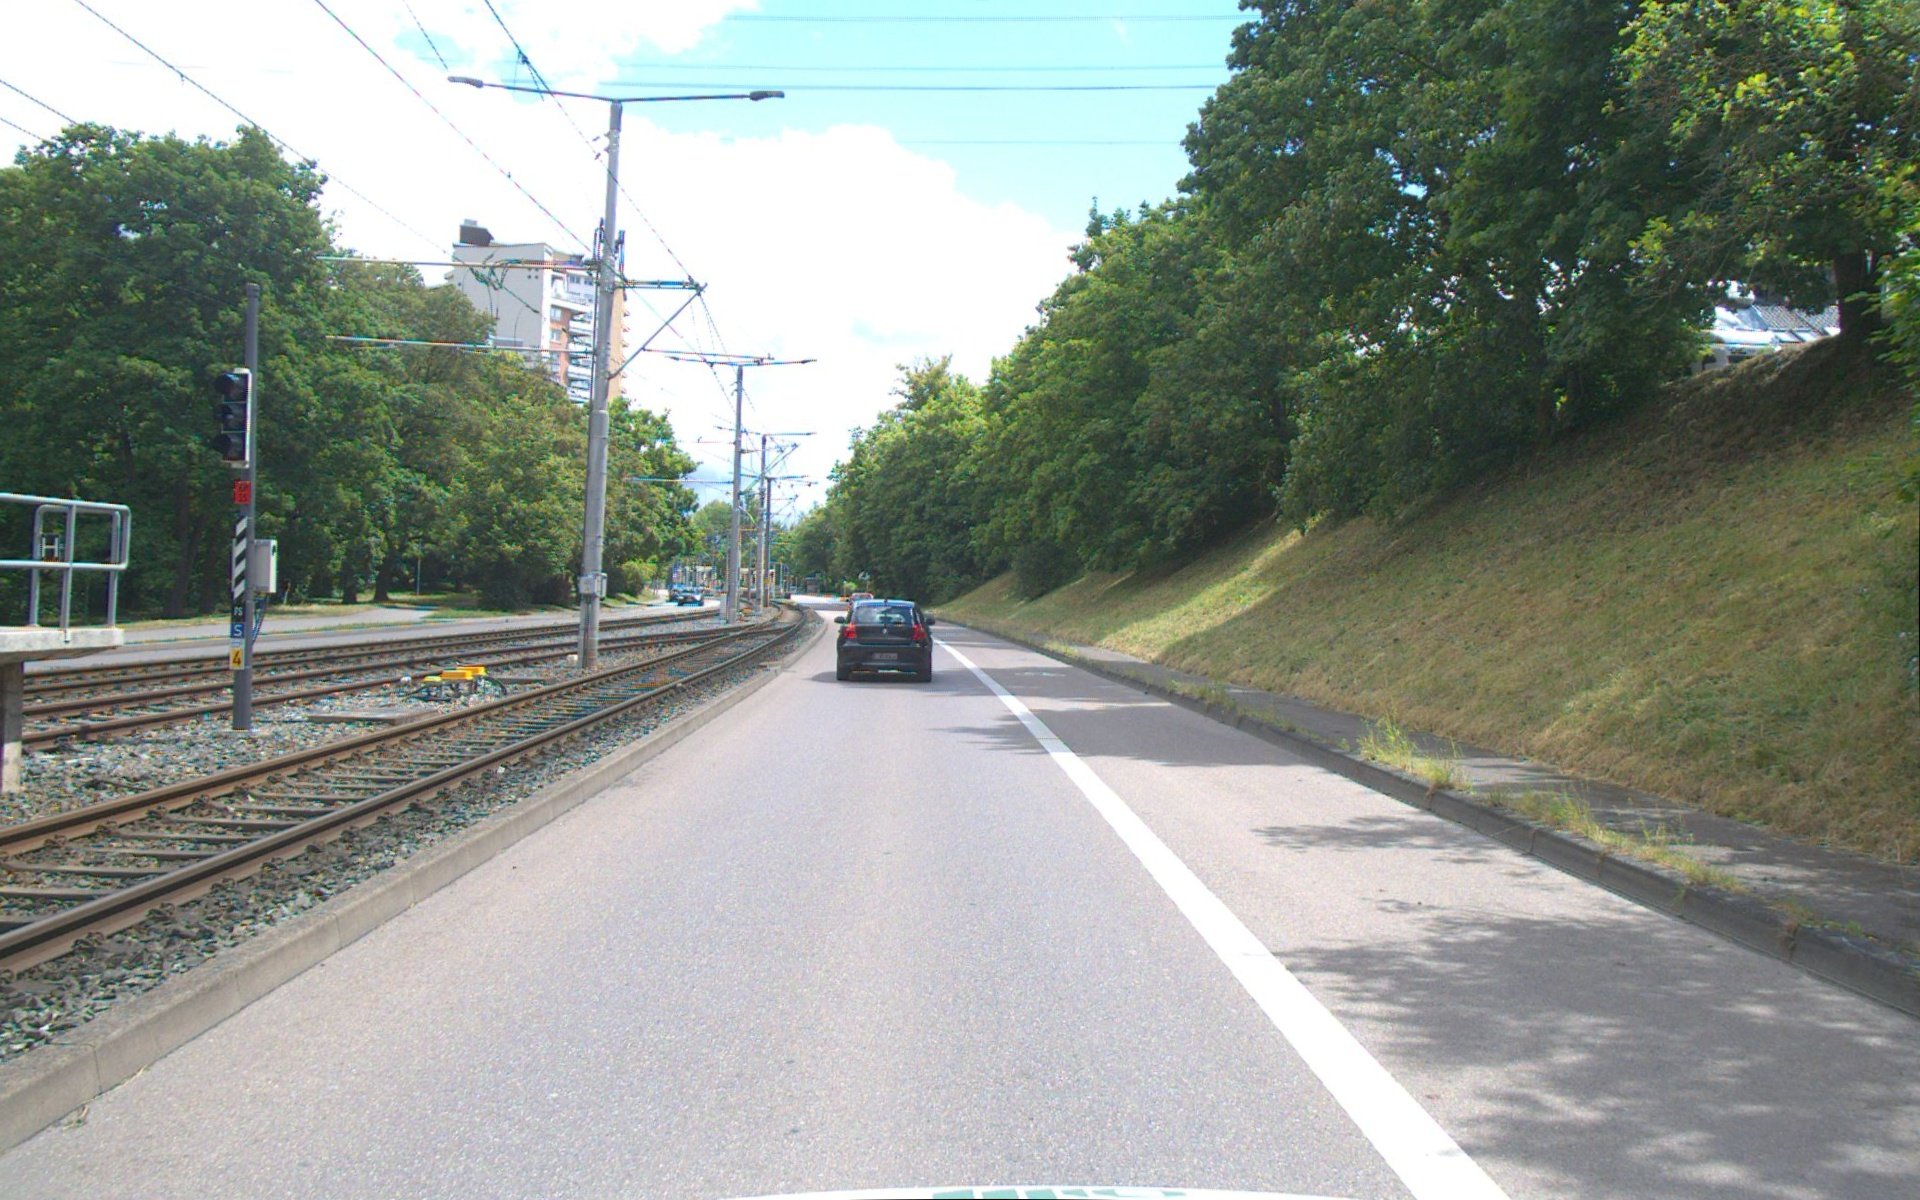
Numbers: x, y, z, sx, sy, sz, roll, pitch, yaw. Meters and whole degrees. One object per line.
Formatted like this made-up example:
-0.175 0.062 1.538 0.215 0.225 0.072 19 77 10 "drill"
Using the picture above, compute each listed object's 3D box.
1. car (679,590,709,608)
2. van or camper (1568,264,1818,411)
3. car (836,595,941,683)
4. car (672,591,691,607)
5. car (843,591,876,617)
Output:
-20.903 -0.093 130.088 1.799 1.415 4.859 -1 0 -3 "car"
15.355 -5.440 35.148 2.173 2.106 6.156 1 0 -5 "van or camper"
-1.365 0.658 30.128 1.746 1.485 3.917 0 0 -5 "car"
-27.002 -0.126 160.274 1.741 1.525 3.989 1 0 -9 "car"
-5.931 0.213 97.567 1.747 1.485 3.915 1 0 -6 "car"
